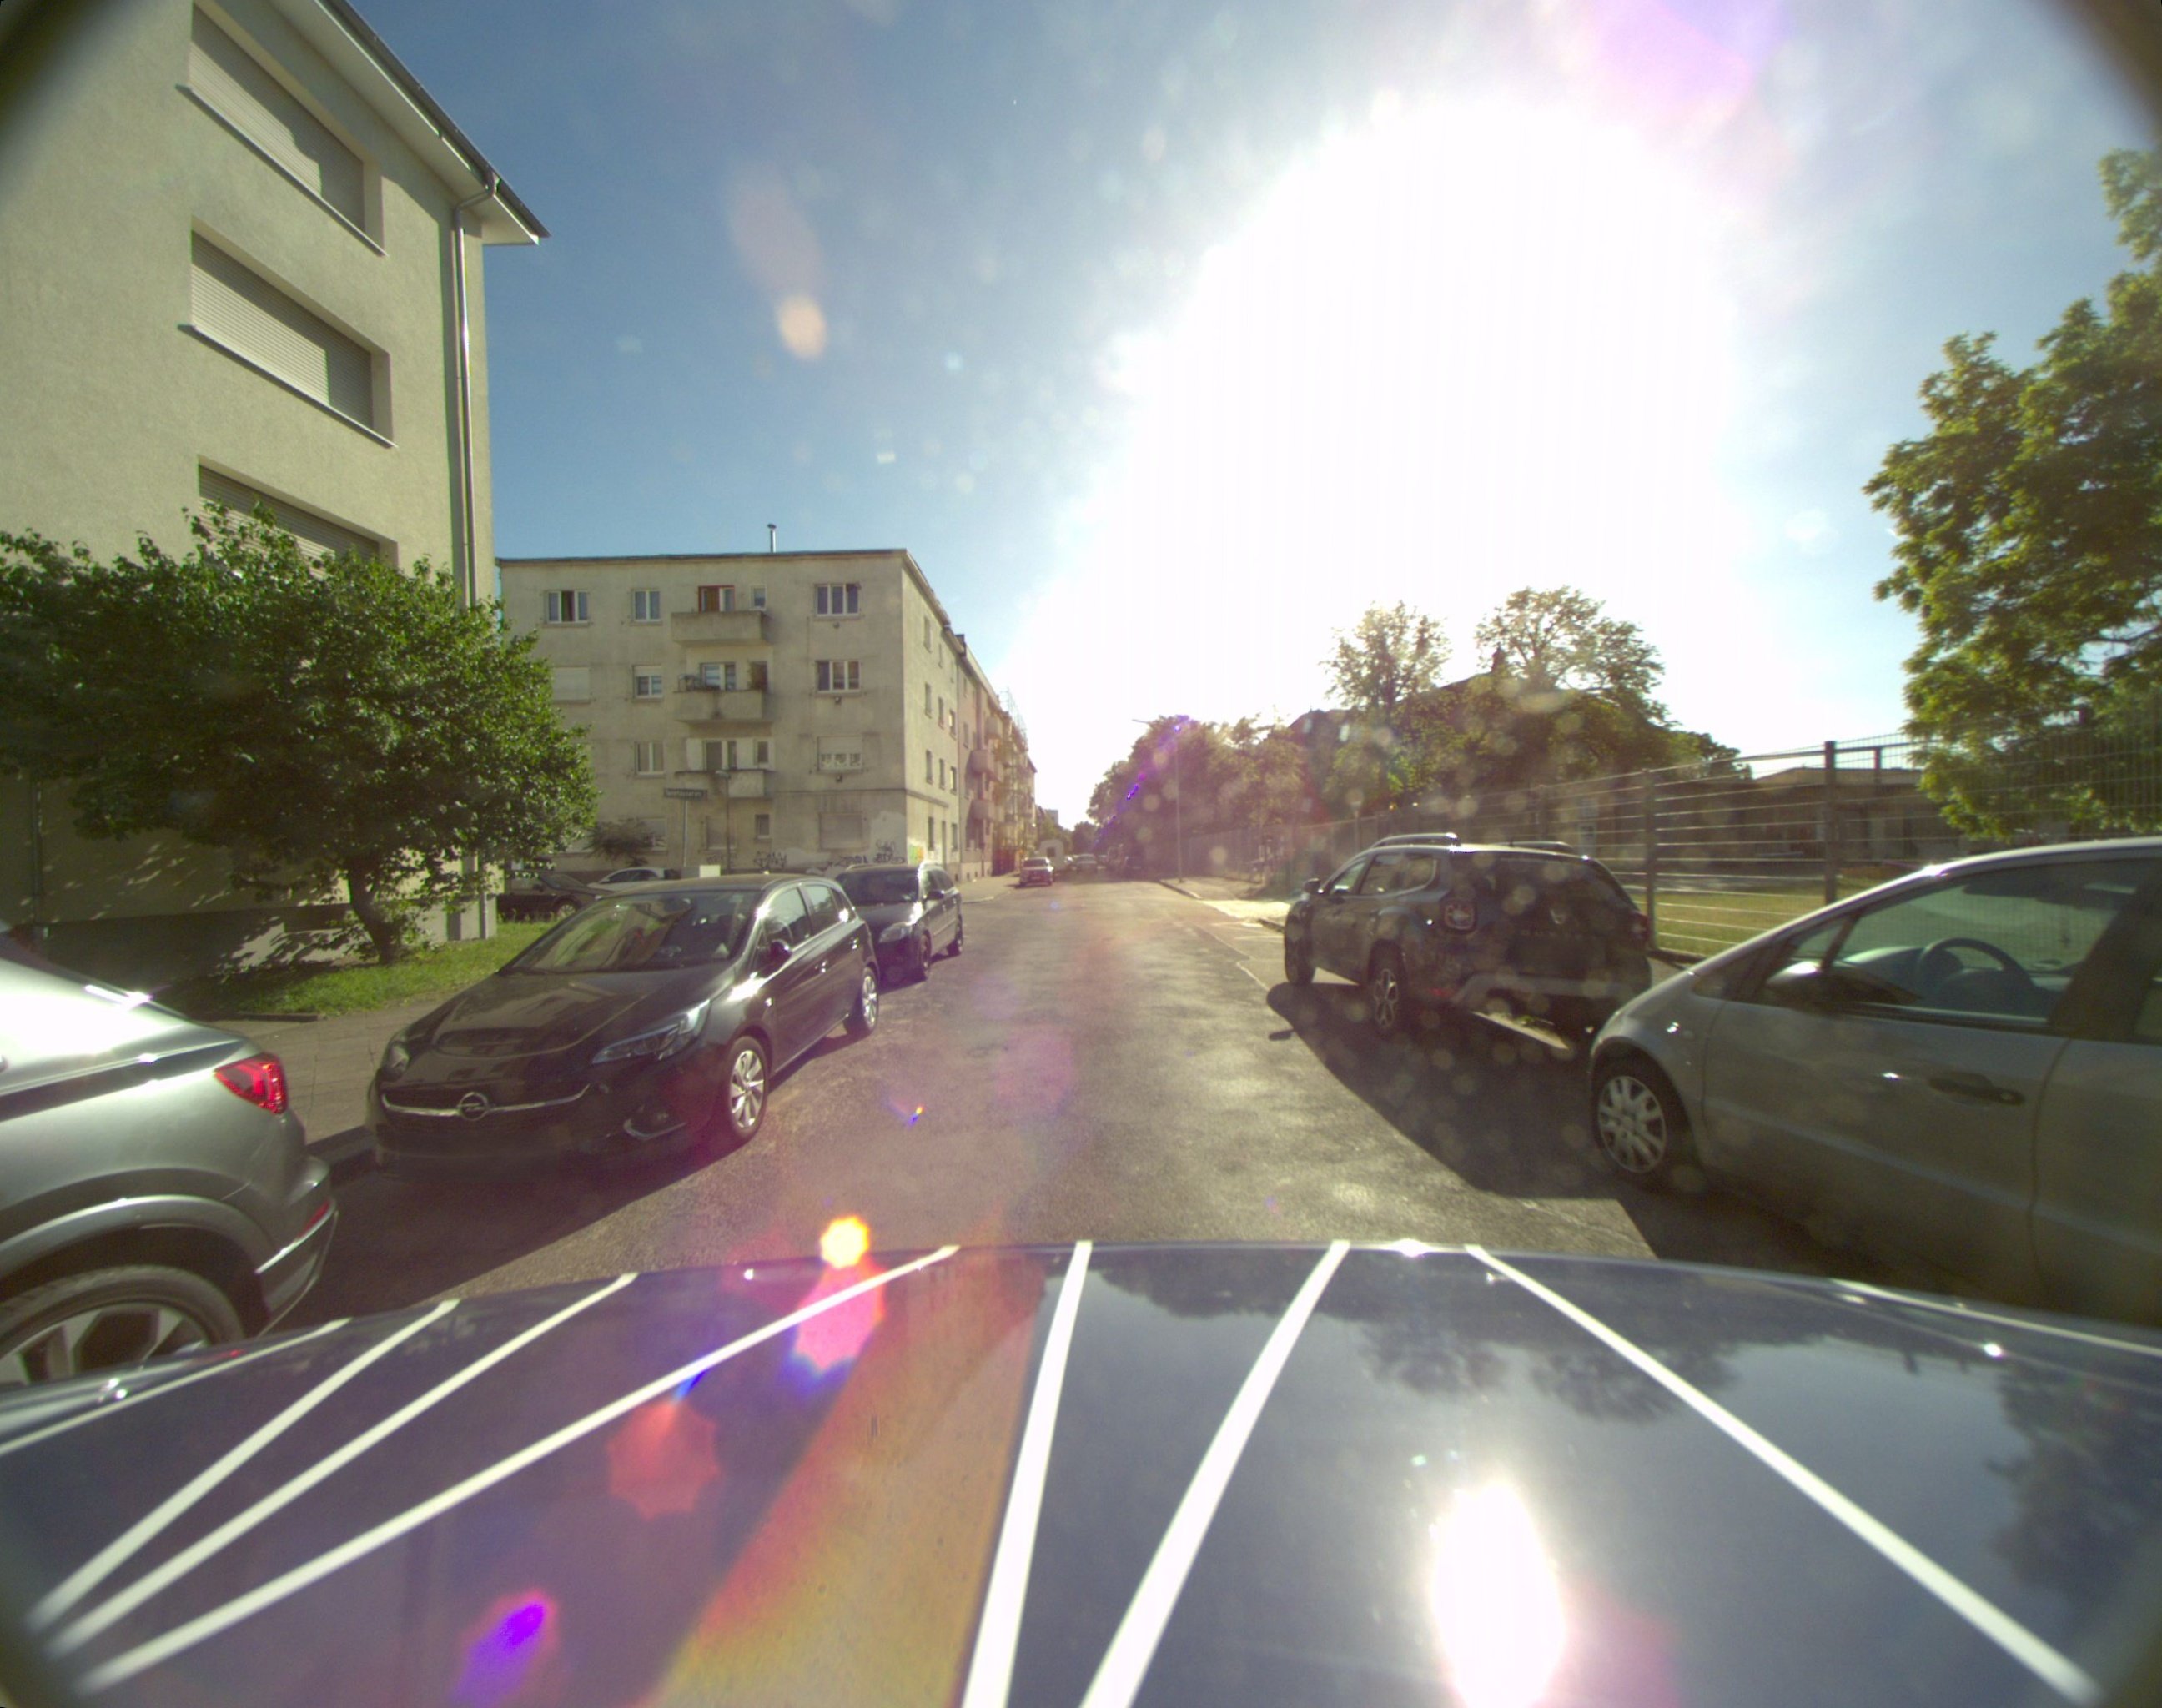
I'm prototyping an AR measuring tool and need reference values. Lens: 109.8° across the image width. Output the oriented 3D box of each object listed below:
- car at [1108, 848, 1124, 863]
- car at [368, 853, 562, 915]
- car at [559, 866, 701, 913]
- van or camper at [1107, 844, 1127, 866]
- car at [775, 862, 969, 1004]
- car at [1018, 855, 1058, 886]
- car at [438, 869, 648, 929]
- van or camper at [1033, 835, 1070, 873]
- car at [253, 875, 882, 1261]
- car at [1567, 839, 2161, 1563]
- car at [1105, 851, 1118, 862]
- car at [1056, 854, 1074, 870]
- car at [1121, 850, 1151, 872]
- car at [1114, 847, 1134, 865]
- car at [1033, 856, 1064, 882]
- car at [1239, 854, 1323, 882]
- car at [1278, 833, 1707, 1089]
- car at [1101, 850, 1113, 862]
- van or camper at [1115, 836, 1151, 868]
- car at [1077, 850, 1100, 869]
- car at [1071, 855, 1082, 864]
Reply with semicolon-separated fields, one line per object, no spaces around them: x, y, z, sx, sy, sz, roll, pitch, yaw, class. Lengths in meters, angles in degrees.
4.751;0.251;103.797;1.998;2.002;4.000;-1;0;0;car
-20.413;0.984;25.327;4.852;1.921;1.957;-1;-1;0;car
-14.913;1.169;25.267;3.718;1.450;1.693;-1;-1;2;car
4.179;0.069;88.743;2.126;2.484;3.999;-1;1;-1;van or camper
-2.711;0.933;10.822;1.622;1.539;4.084;-1;1;0;car
-2.396;0.897;43.045;2.069;1.544;3.999;-2;0;-1;car
-13.597;1.130;19.373;4.046;1.406;1.804;-1;-2;0;car
-2.456;-0.004;65.620;2.957;3.161;6.173;0;0;0;van or camper
-2.663;0.959;5.110;1.609;1.476;3.797;-1;0;0;car
3.255;0.816;1.985;1.568;1.634;3.615;3;0;0;car
5.156;0.408;128.691;1.998;1.738;4.000;-1;0;0;car
-1.575;0.781;76.095;1.651;1.408;3.999;-2;0;-1;car
3.695;0.450;51.420;1.651;1.408;3.999;-2;0;-1;car
4.290;0.192;76.342;1.651;1.674;3.999;-1;0;-1;car
-2.073;0.913;49.434;1.876;1.544;3.999;-2;0;-1;car
10.793;0.756;41.216;3.997;1.412;2.000;-1;0;-1;car
3.289;0.707;7.166;1.716;1.654;4.164;2;0;0;car
4.763;0.364;137.770;1.998;2.002;4.000;-1;0;0;car
3.871;-0.147;57.311;2.211;2.268;5.309;-2;1;-1;van or camper
0.598;0.421;66.413;1.862;1.543;3.999;-1;1;-1;car
-0.746;0.889;124.555;1.651;1.451;3.999;-1;0;-1;car
